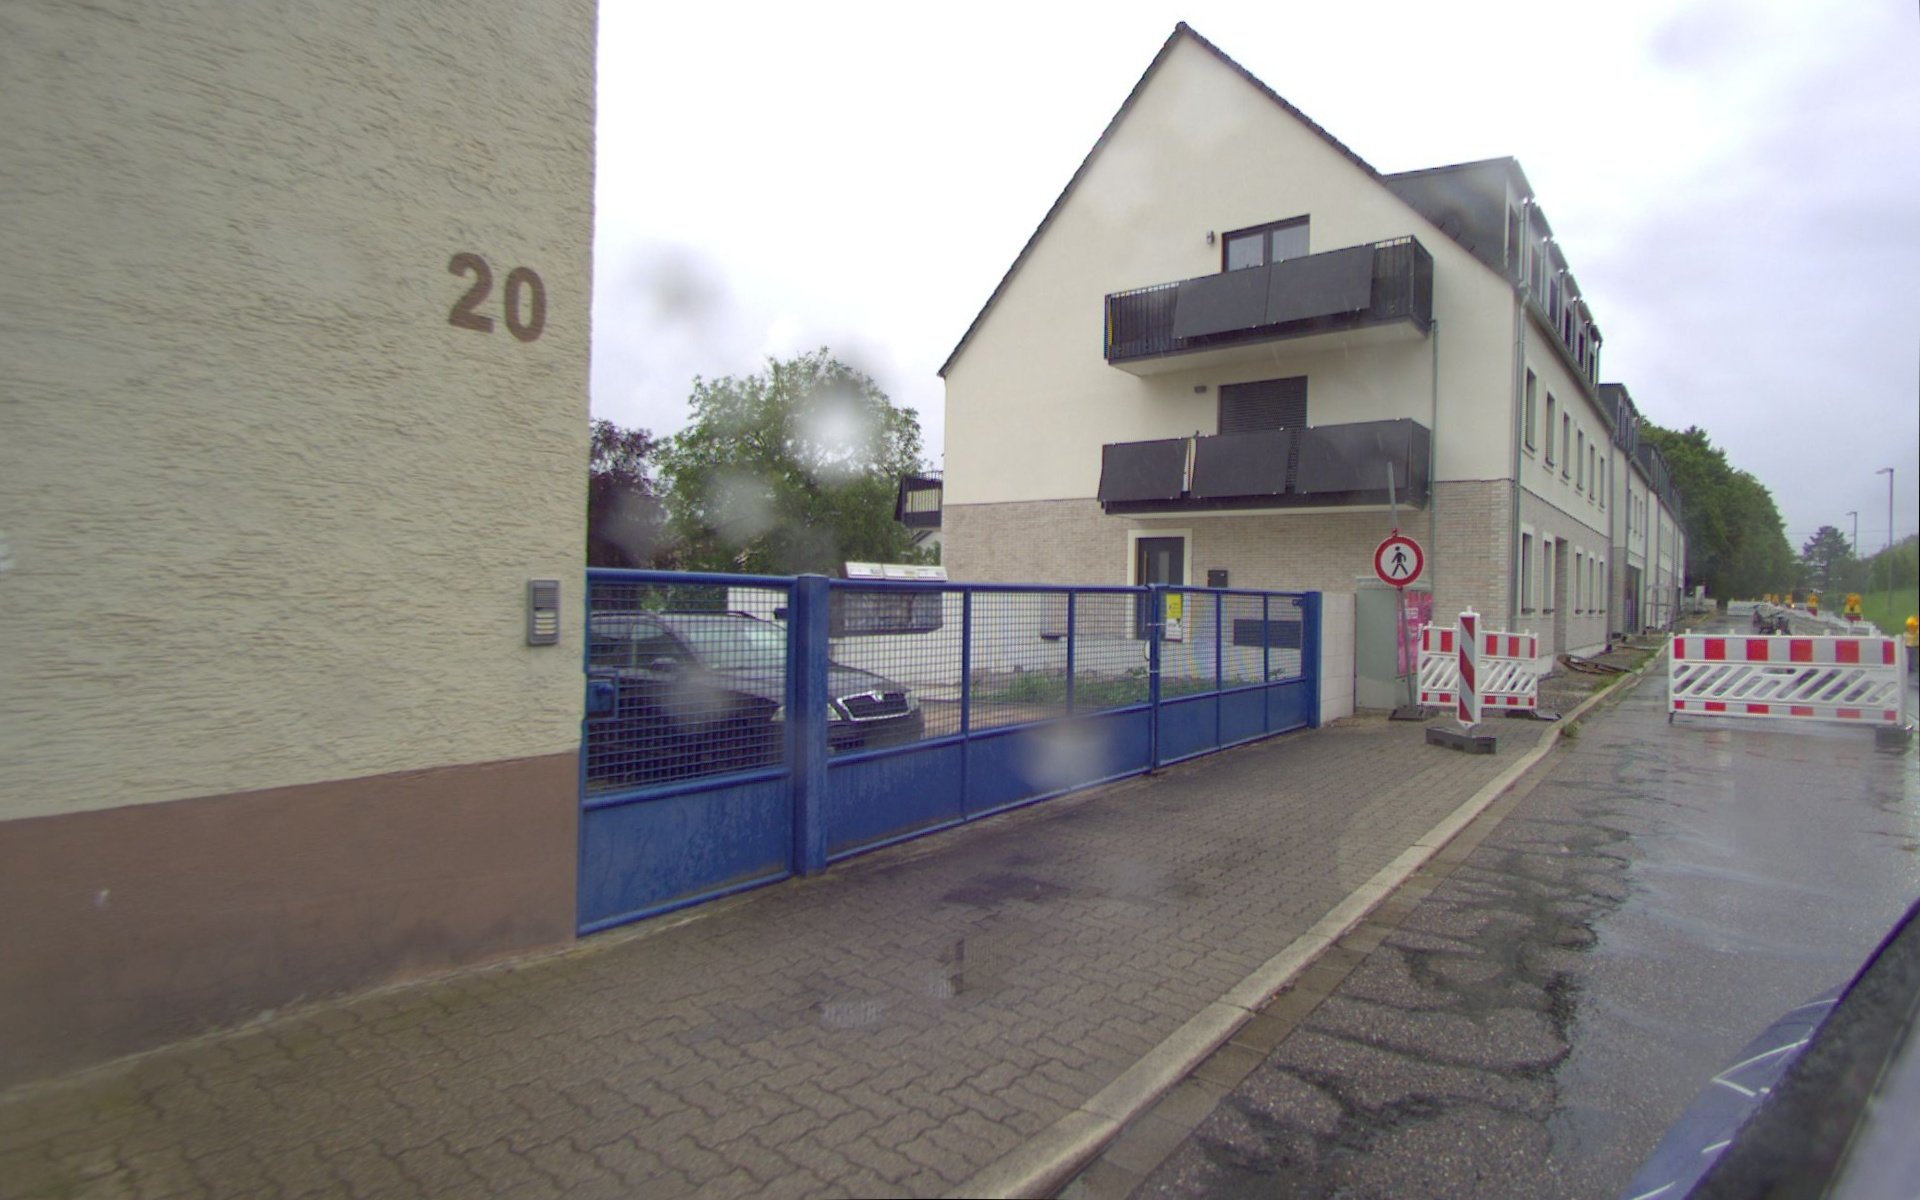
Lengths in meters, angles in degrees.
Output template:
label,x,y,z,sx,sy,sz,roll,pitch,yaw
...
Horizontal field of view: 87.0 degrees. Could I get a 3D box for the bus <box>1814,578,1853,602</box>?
label,x,y,z,sx,sy,sz,roll,pitch,yaw
bus,118.412,-1.357,137.092,14.305,3.042,2.681,-1,3,-44

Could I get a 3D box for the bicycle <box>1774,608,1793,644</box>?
label,x,y,z,sx,sy,sz,roll,pitch,yaw
bicycle,25.051,0.770,30.796,0.405,1.041,1.203,3,2,40

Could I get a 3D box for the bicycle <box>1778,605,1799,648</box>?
label,x,y,z,sx,sy,sz,roll,pitch,yaw
bicycle,23.751,0.745,29.012,0.405,1.157,1.203,3,2,40

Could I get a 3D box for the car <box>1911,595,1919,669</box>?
label,x,y,z,sx,sy,sz,roll,pitch,yaw
car,19.618,0.704,19.212,1.844,1.470,4.469,3,2,38

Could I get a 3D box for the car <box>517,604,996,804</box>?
label,x,y,z,sx,sy,sz,roll,pitch,yaw
car,-1.914,0.785,8.841,4.135,1.319,1.886,-3,-2,39
